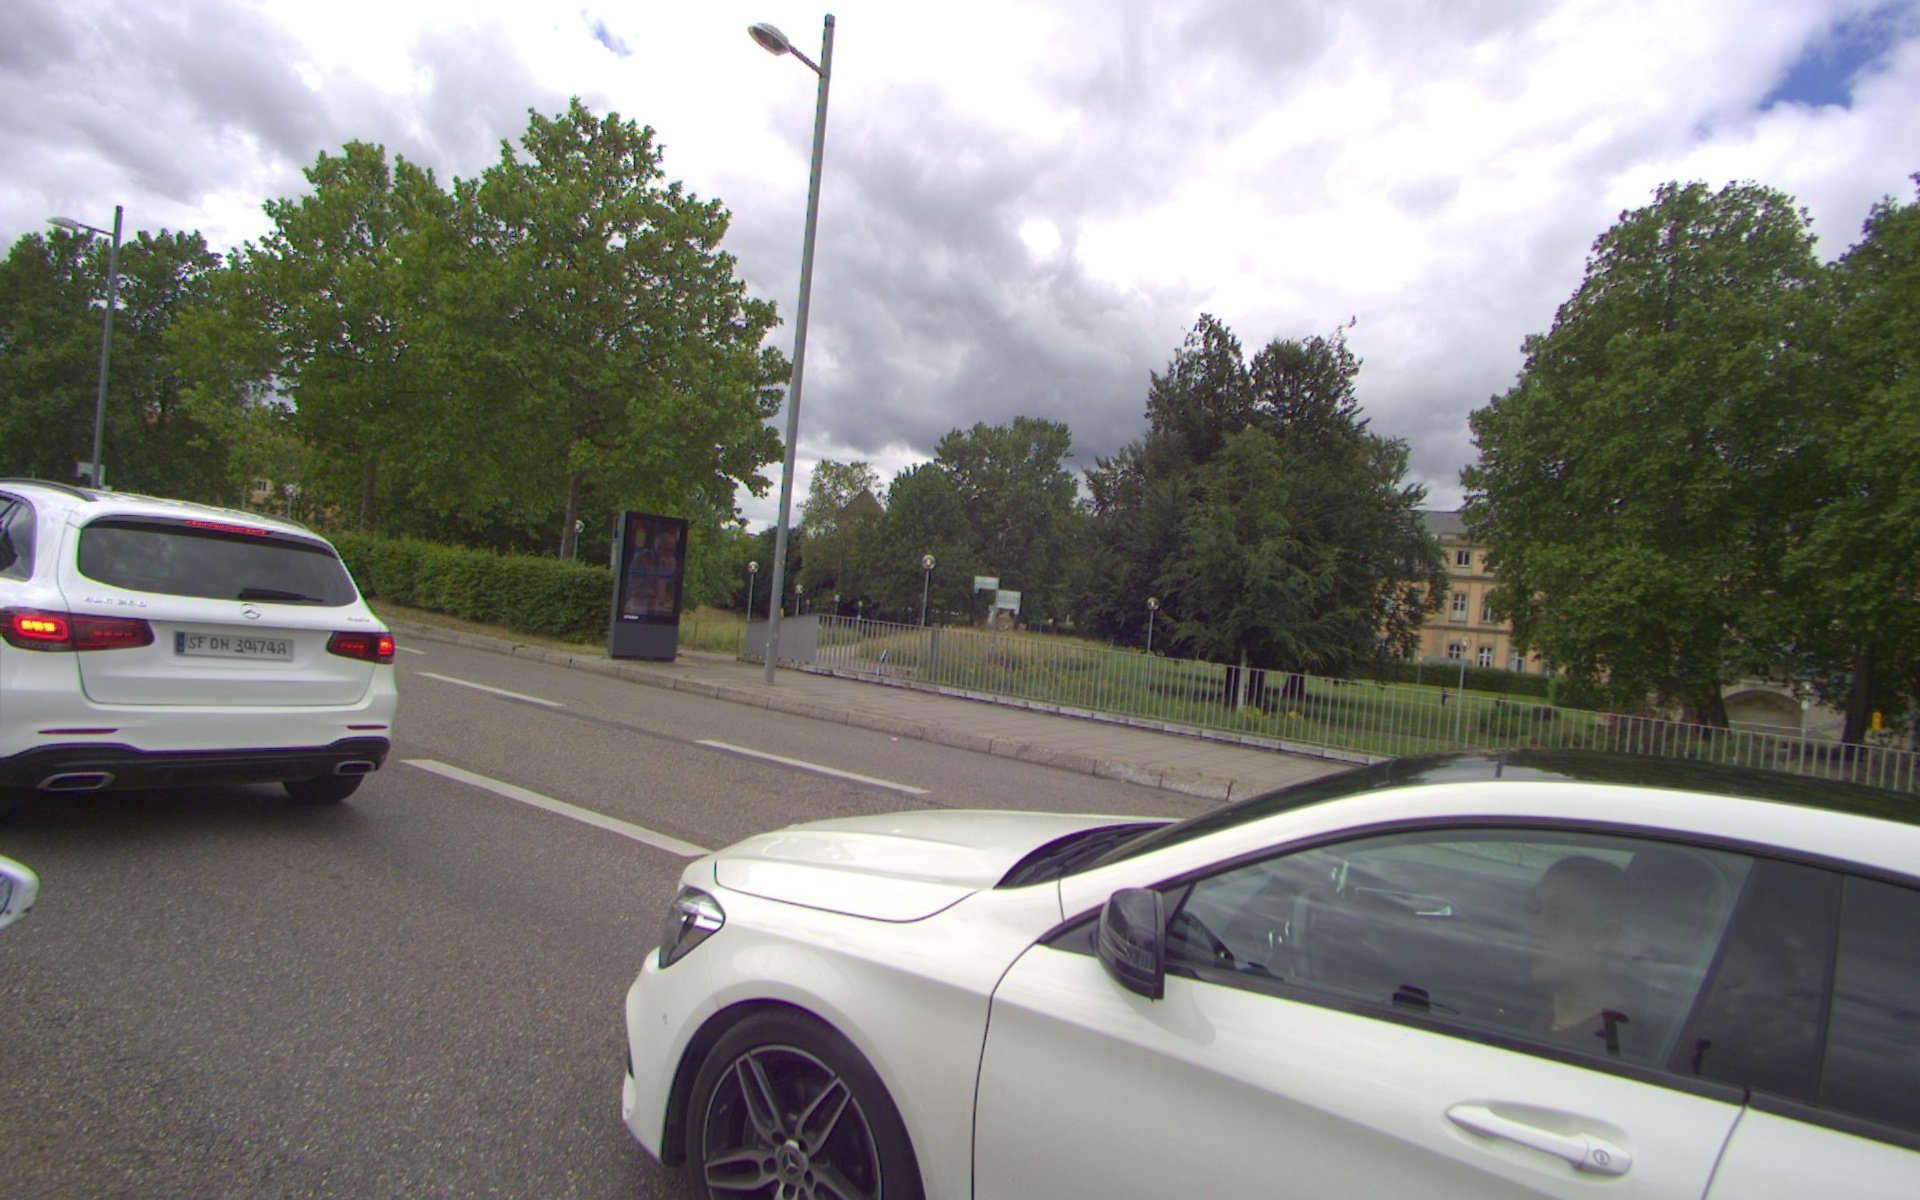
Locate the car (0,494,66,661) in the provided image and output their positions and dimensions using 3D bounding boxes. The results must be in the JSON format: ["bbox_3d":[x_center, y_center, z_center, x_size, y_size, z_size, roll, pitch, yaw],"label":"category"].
[{"bbox_3d":[-11.154,-0.454,10.301,3.738,1.604,1.897,7,-1,32],"label":"car"}]

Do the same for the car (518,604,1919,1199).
[{"bbox_3d":[1.249,1.003,2.165,4.432,1.440,1.722,6,-2,32],"label":"car"}]

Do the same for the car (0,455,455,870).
[{"bbox_3d":[-5.155,0.130,5.939,4.307,1.667,1.821,7,-1,33],"label":"car"}]
